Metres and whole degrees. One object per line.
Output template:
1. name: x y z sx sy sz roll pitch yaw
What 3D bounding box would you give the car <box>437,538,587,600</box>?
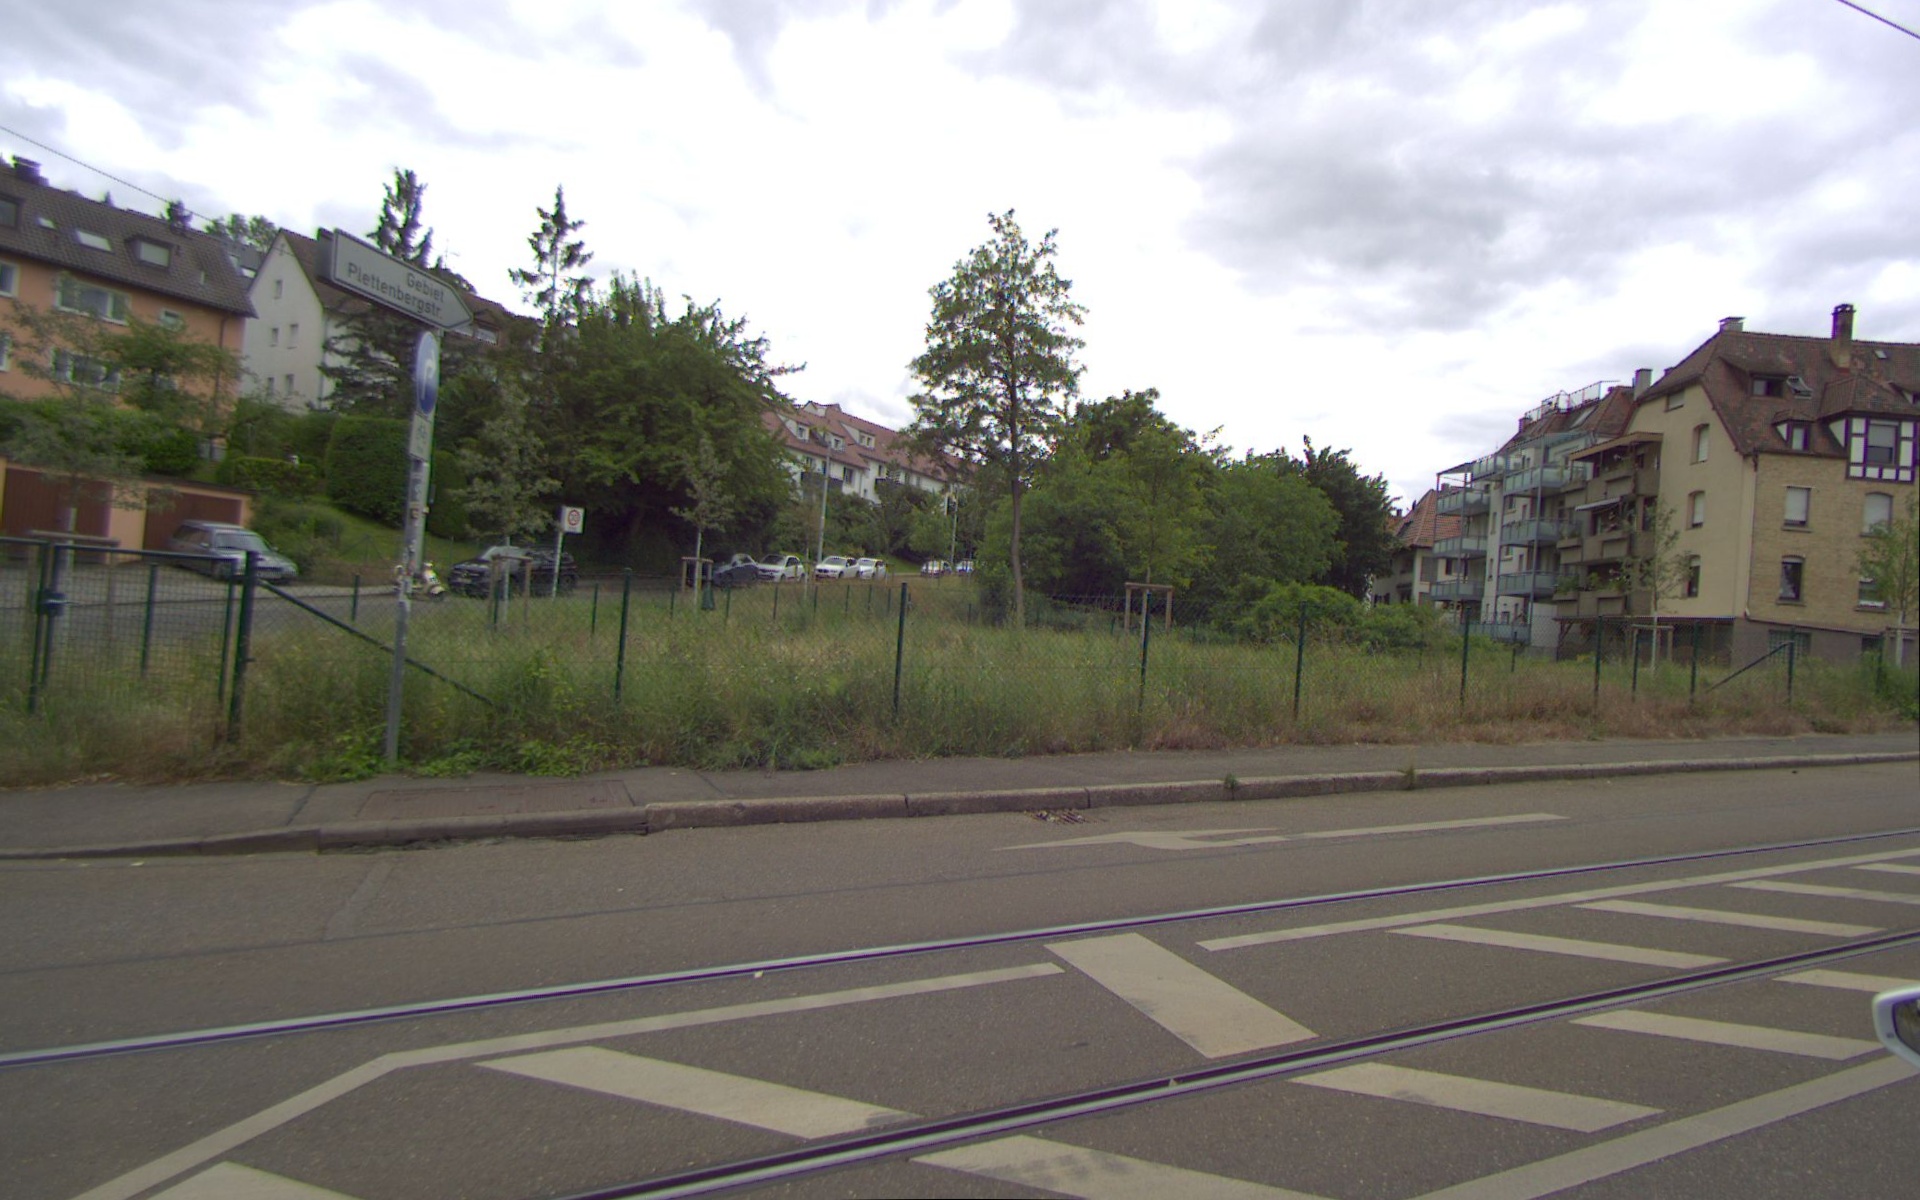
1. car: -13.849 -1.016 31.371 1.937 1.713 4.451 3 3 14

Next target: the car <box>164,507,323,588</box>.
1. car: -20.111 -1.489 28.127 4.799 1.633 1.994 9 3 34

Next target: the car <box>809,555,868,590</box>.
1. car: -7.179 -1.601 59.817 1.864 1.812 4.486 3 0 16

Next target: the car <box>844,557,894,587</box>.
1. car: -5.859 -1.793 64.952 1.800 1.680 4.134 3 0 16

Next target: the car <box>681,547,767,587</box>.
1. car: -10.602 -1.450 45.368 1.942 1.531 4.134 3 0 16

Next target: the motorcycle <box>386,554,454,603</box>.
1. motorcycle: -15.190 -0.609 28.254 1.671 1.171 0.522 7 1 12

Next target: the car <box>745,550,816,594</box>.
1. car: -9.234 -1.395 52.004 1.942 2.040 4.134 3 0 15

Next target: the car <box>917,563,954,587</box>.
1. car: -1.985 -2.005 81.816 1.800 1.680 4.134 3 0 16

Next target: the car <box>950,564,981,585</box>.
1. car: 0.563 -2.330 92.838 1.800 1.680 4.134 3 0 15
